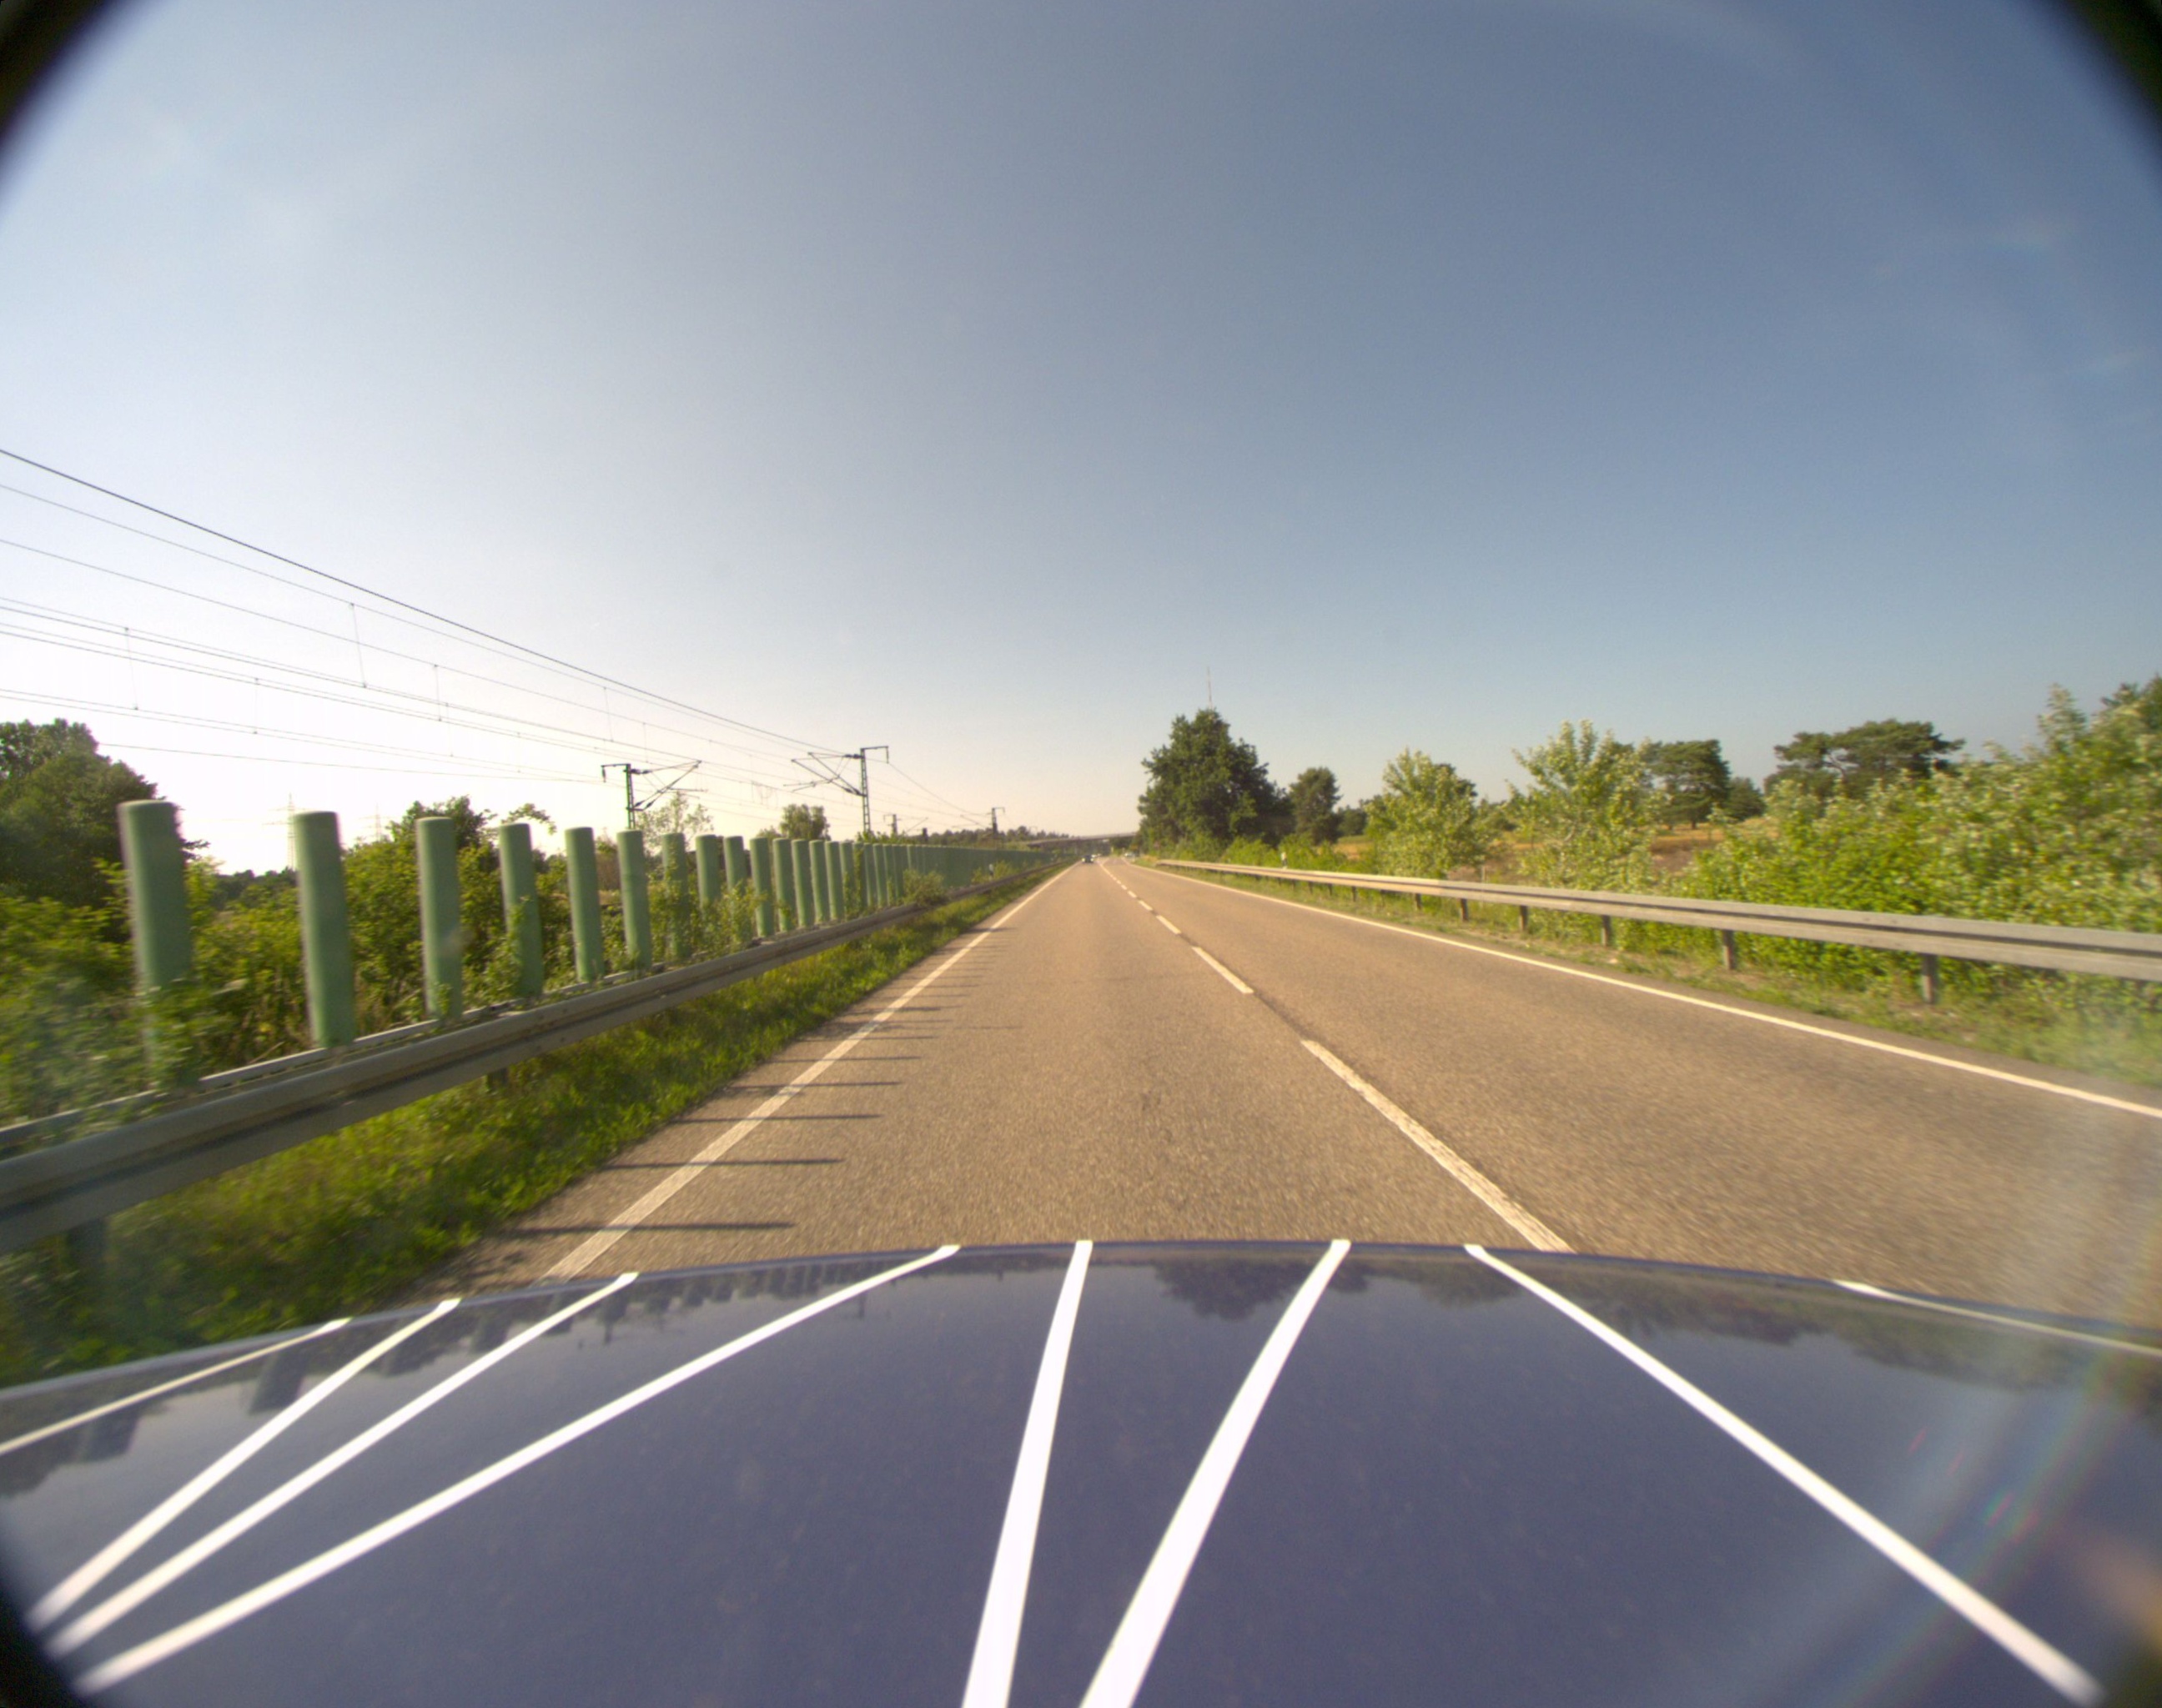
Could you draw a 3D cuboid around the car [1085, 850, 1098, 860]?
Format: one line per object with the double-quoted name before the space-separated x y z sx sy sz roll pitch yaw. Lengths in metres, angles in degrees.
"car" 1.738 0.169 124.010 1.868 1.533 4.076 -2 0 3
